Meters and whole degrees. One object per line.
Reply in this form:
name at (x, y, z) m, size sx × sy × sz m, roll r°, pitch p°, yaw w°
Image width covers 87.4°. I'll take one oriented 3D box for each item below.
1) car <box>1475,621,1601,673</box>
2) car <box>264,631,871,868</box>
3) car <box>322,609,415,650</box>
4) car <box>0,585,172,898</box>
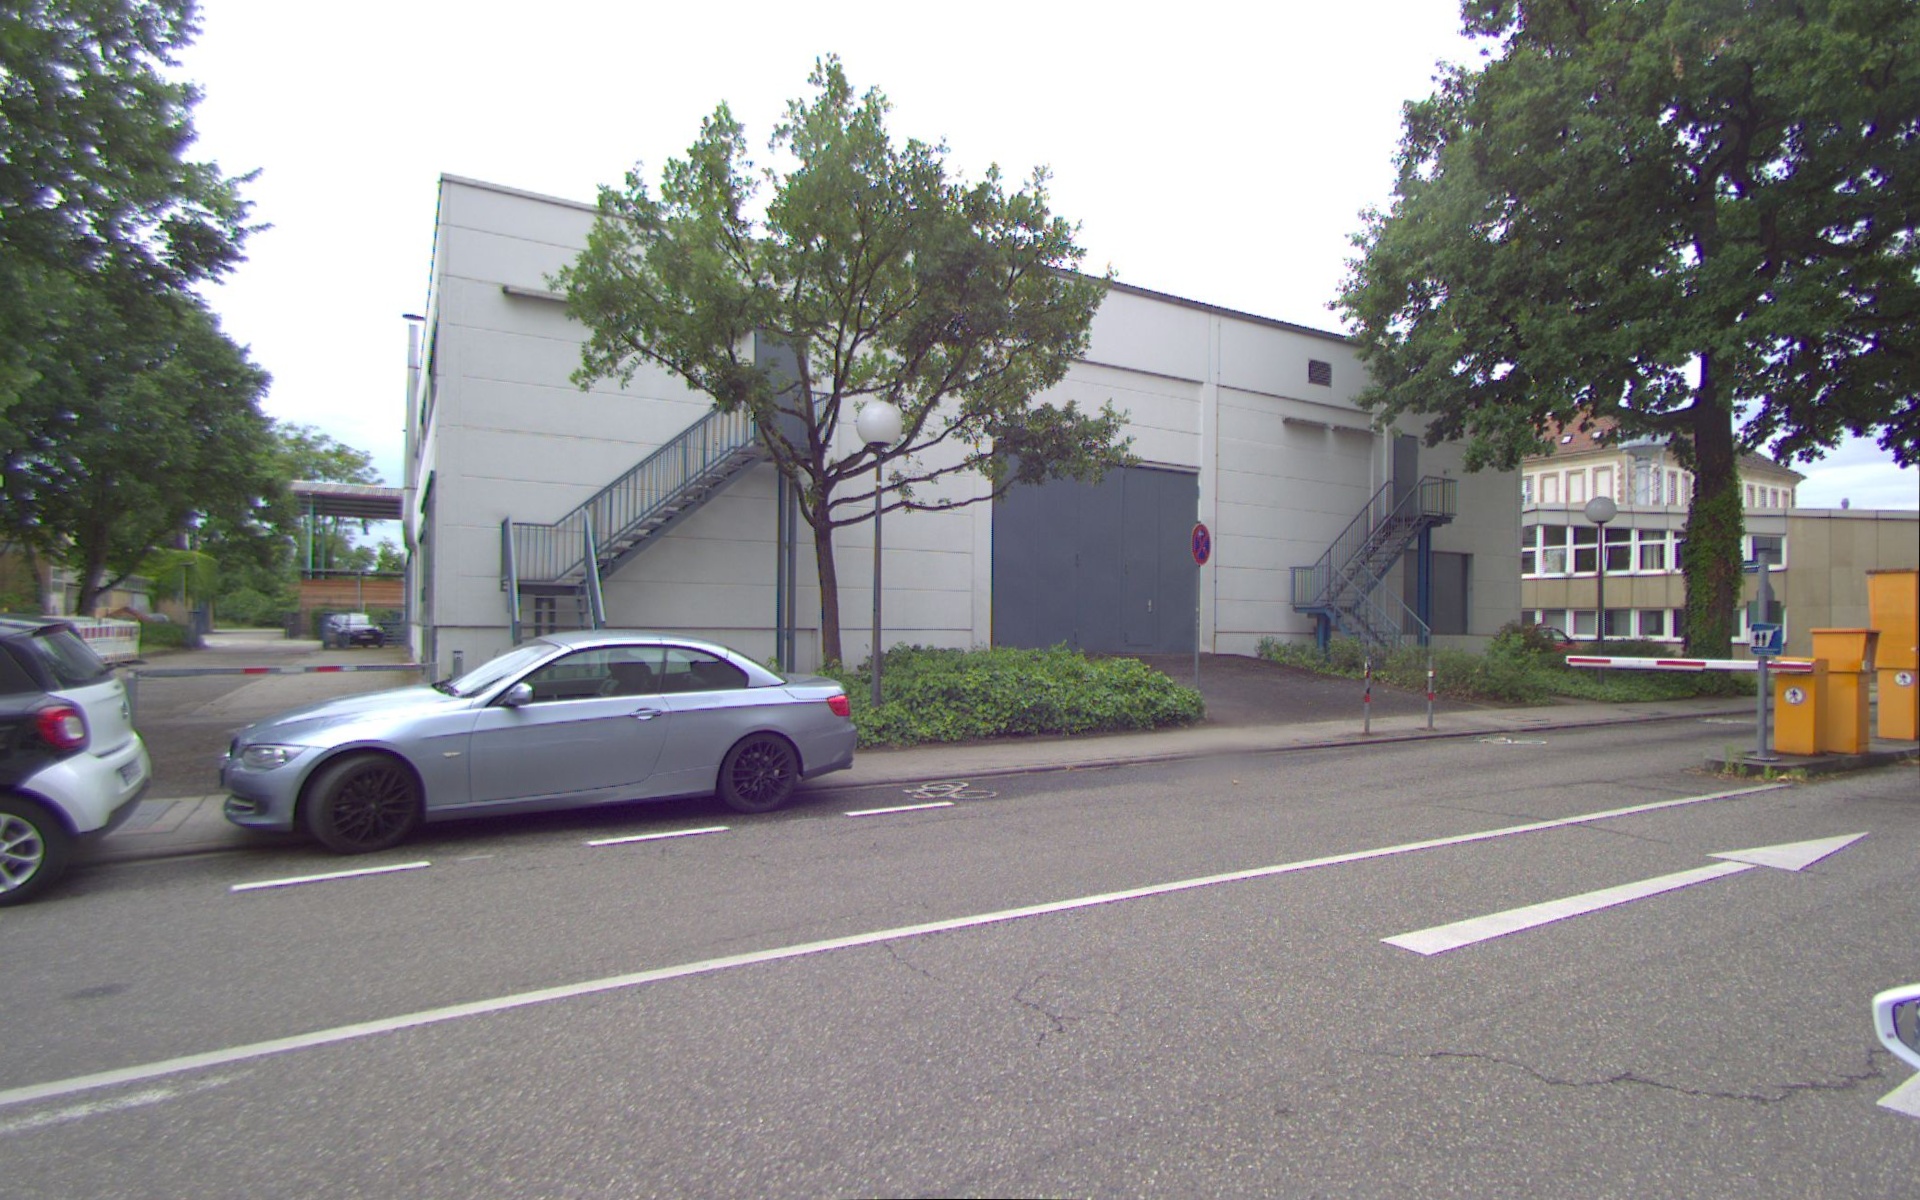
car at (18.654, 1.477, 32.389) m, size 3.954 × 1.550 × 1.854 m, roll 1°, pitch -1°, yaw -31°
car at (-2.966, 0.969, 8.017) m, size 4.149 × 1.407 × 1.807 m, roll 1°, pitch -1°, yaw -33°
car at (-23.918, 1.177, 40.595) m, size 3.707 × 1.550 × 1.873 m, roll 0°, pitch -2°, yaw 35°
car at (-6.603, 0.718, 5.135) m, size 3.833 × 1.607 × 1.707 m, roll 0°, pitch 0°, yaw -31°
